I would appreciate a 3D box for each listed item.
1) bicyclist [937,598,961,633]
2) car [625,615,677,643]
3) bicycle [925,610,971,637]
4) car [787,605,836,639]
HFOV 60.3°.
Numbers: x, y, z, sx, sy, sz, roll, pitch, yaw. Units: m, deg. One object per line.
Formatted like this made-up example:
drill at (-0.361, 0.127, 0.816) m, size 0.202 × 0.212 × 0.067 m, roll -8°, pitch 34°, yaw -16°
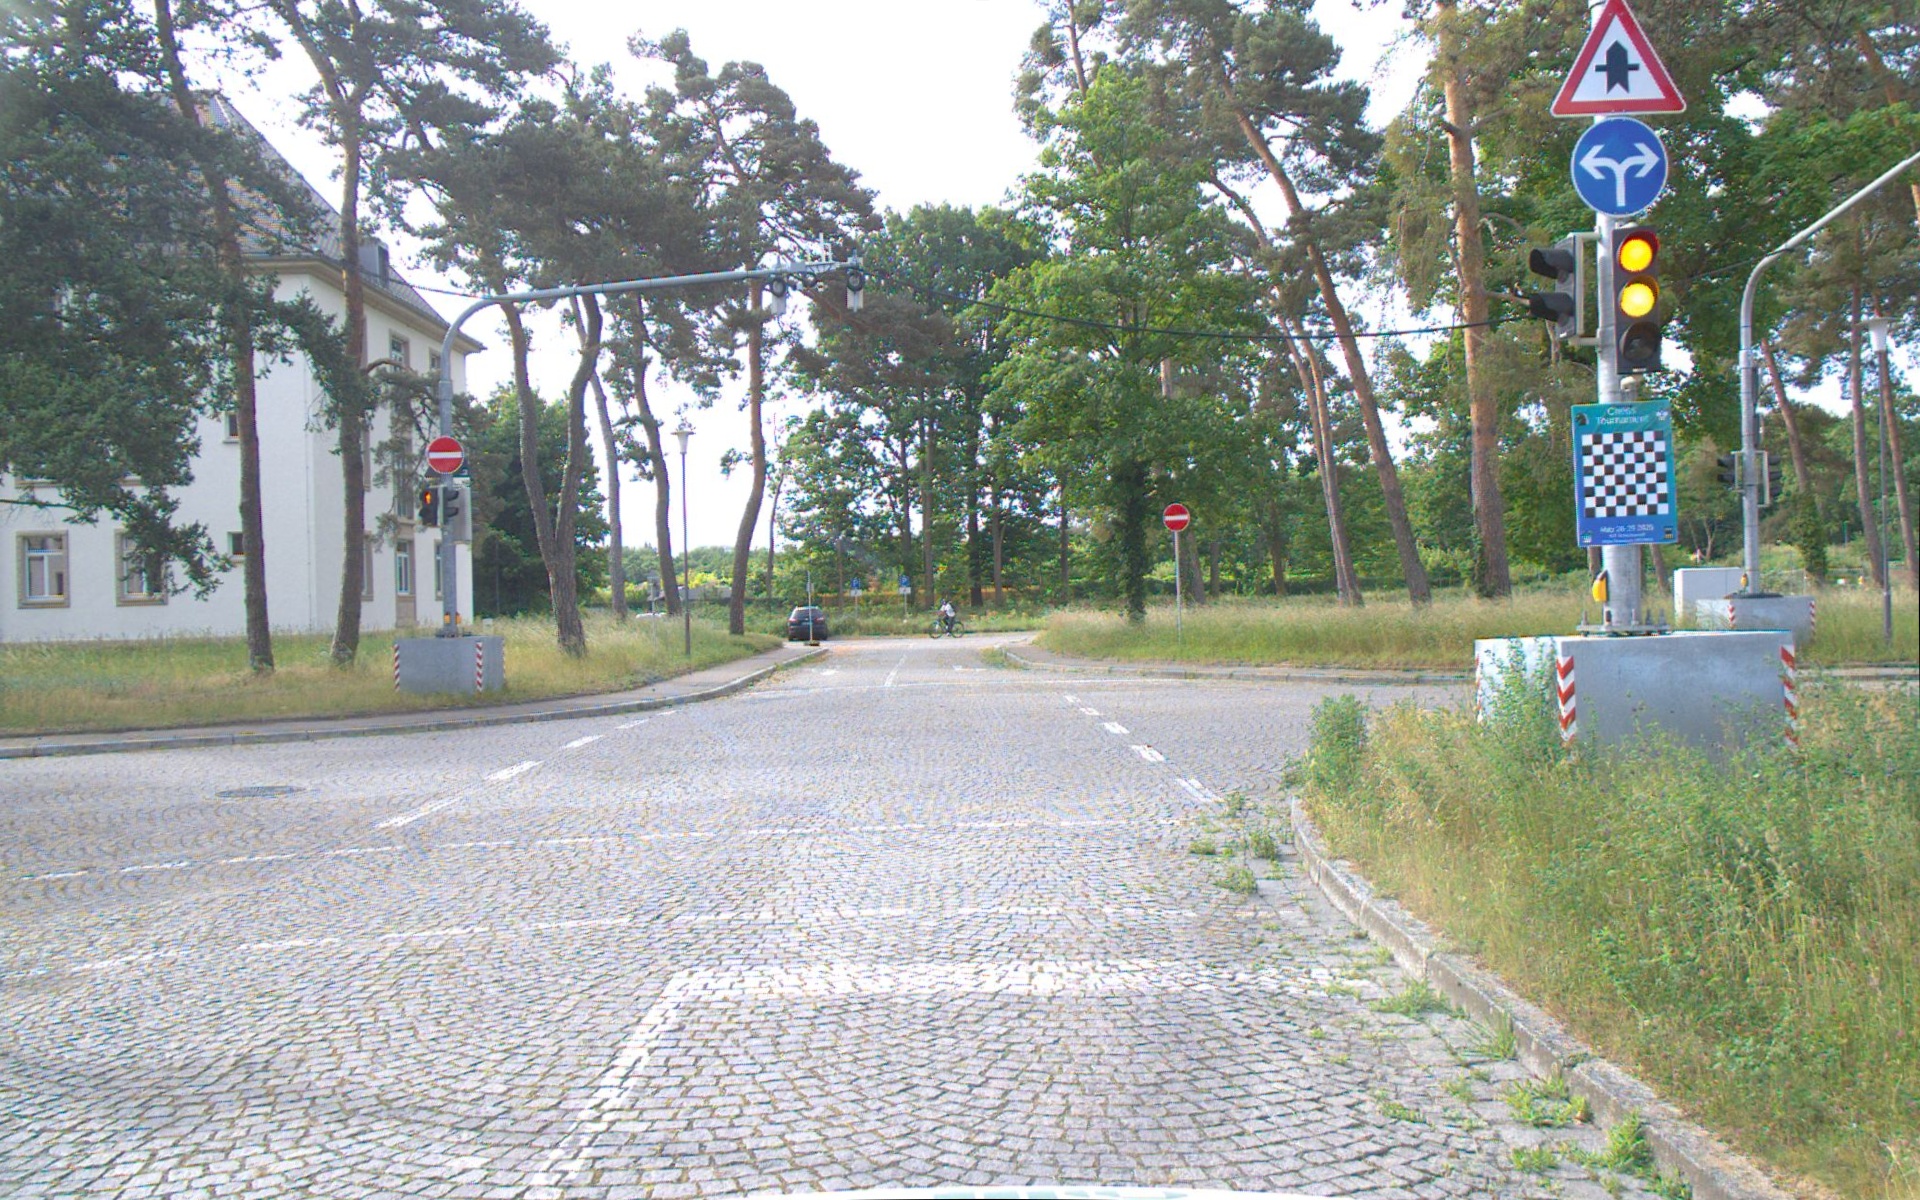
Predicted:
bicyclist at (-0.486, 0.680, 73.610) m, size 0.955 × 1.537 × 0.807 m, roll -2°, pitch 0°, yaw -4°
car at (-14.595, 1.351, 78.304) m, size 1.654 × 1.176 × 4.000 m, roll -2°, pitch 0°, yaw 0°
bicycle at (-0.549, 1.061, 73.592) m, size 1.948 × 1.114 × 0.809 m, roll -2°, pitch 0°, yaw -5°
car at (-6.953, 1.011, 77.710) m, size 1.953 × 1.534 × 4.000 m, roll 0°, pitch 0°, yaw 0°
